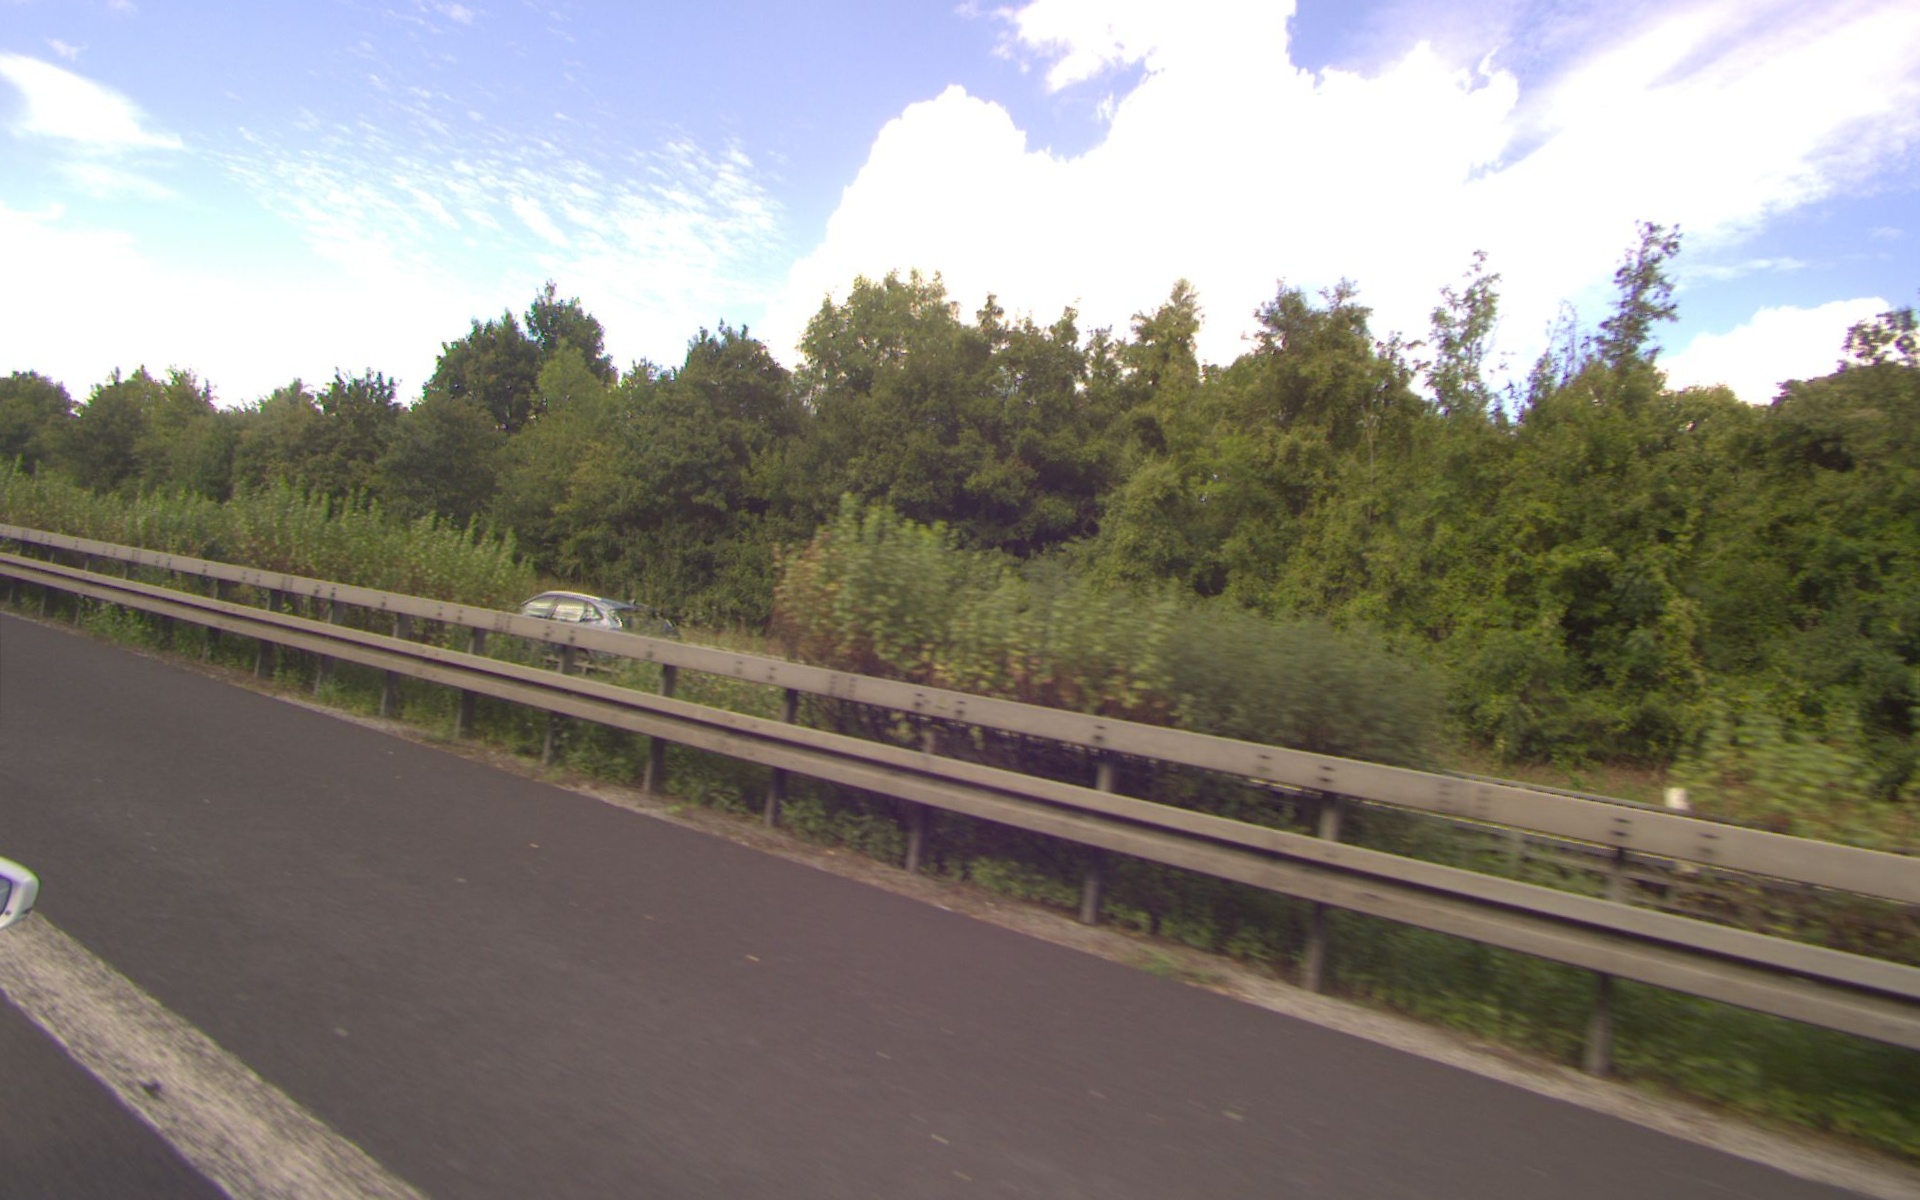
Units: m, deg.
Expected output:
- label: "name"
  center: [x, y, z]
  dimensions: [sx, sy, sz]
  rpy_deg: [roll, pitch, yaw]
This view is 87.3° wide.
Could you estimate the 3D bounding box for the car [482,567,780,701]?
- label: "car"
  center: [-5.529, 0.556, 16.831]
  dimensions: [4.592, 1.536, 1.790]
  rpy_deg: [7, -2, 24]
